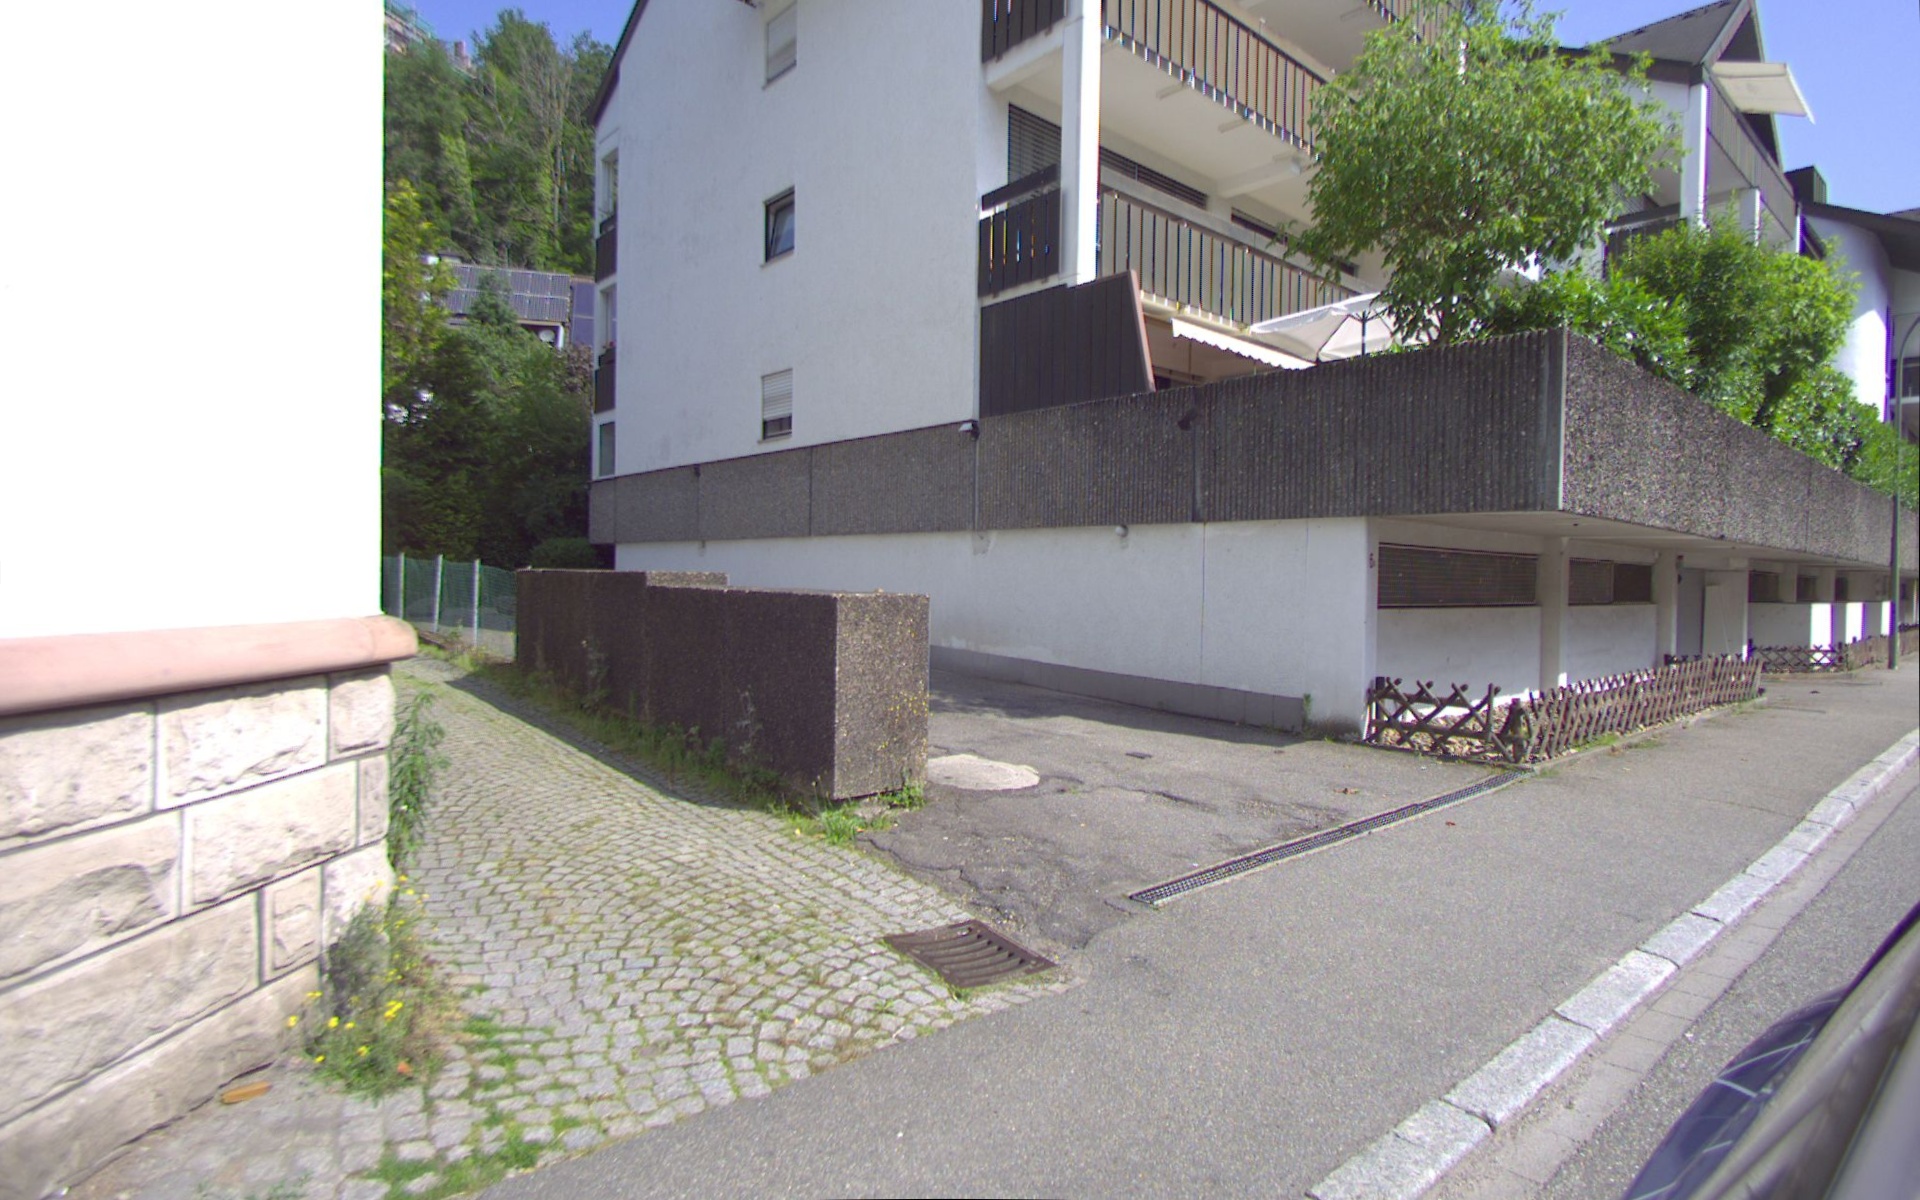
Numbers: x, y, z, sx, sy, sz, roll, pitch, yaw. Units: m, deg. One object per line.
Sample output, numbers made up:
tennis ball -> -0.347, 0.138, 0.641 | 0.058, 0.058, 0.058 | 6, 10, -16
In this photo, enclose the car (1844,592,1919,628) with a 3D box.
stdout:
car -> 40.038, 0.431, 42.809 | 1.672, 1.498, 3.830 | 1, -1, -43
